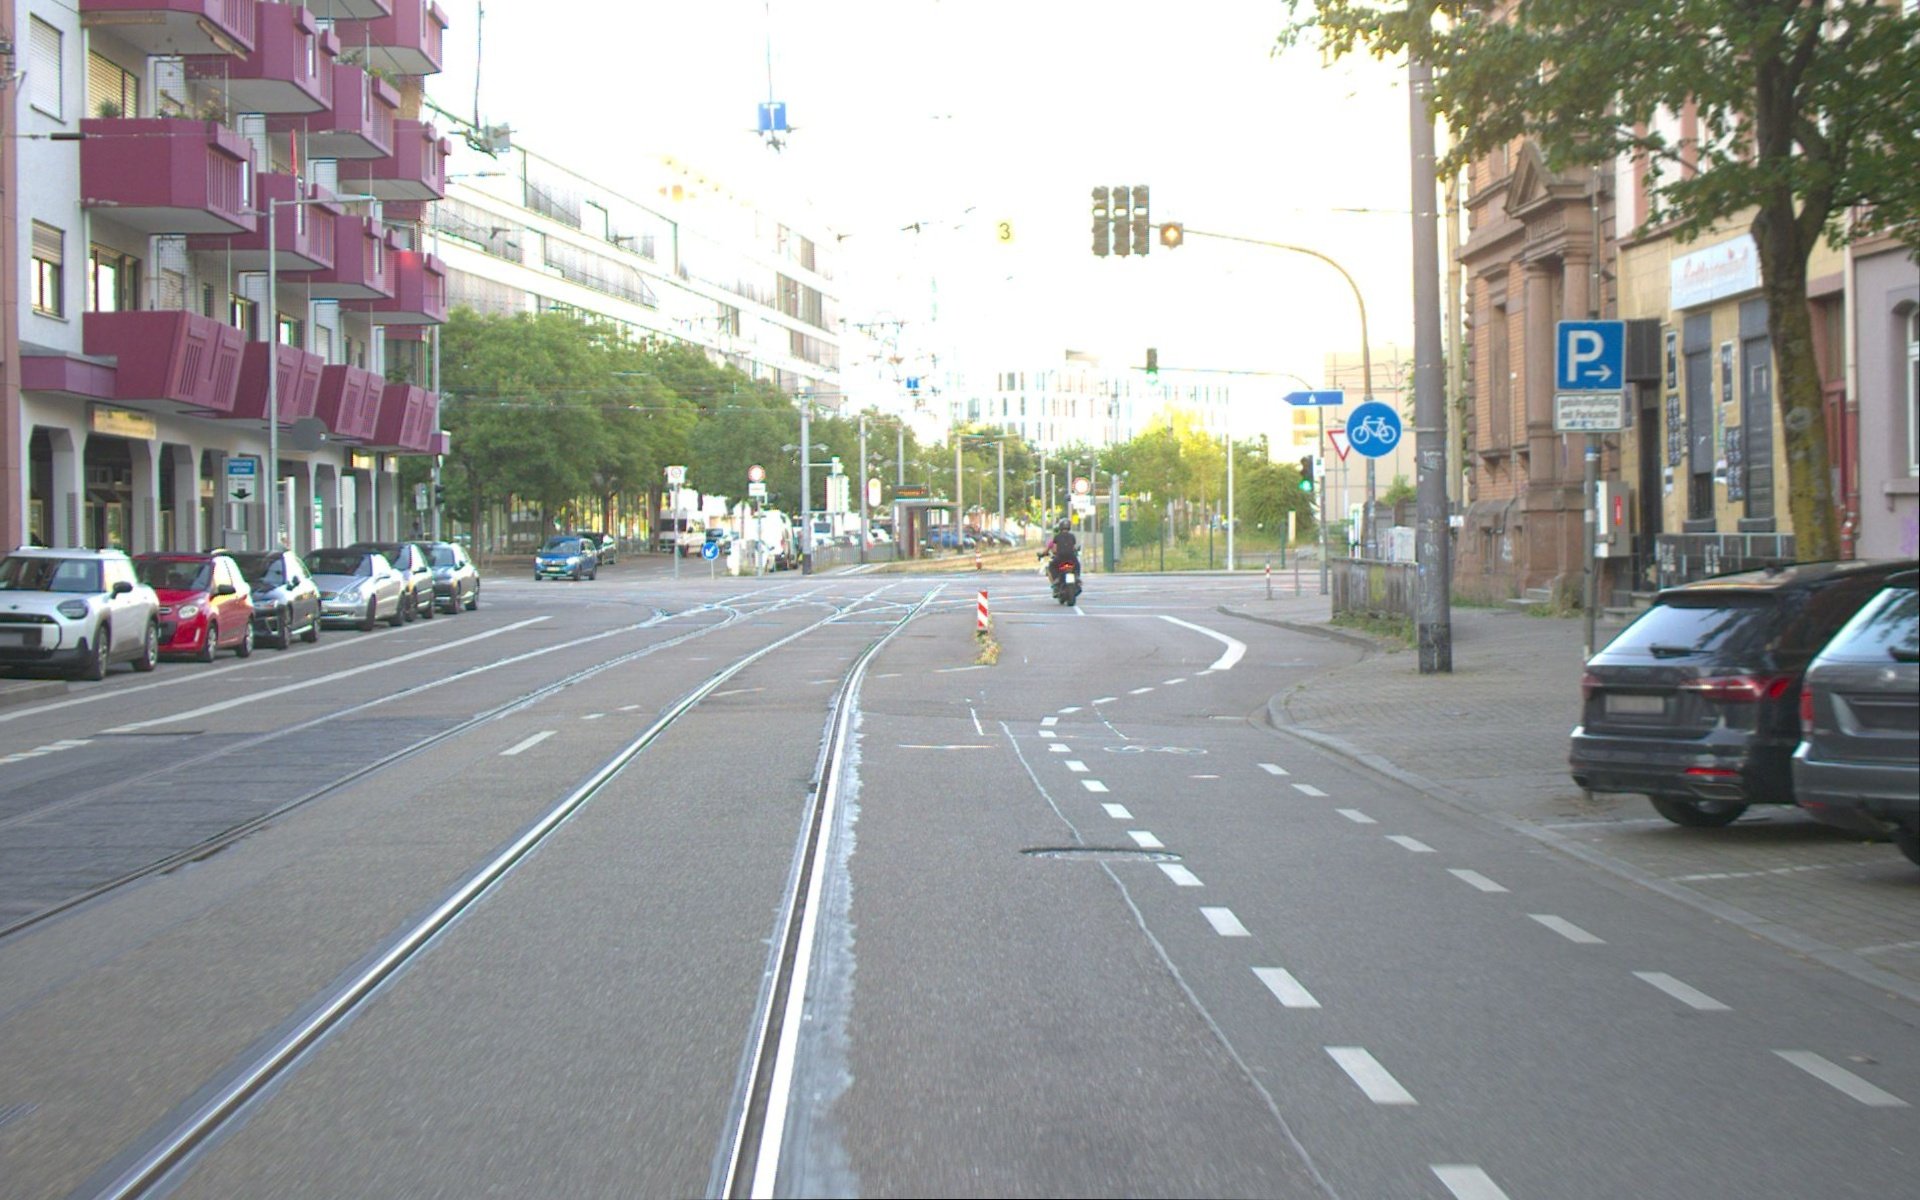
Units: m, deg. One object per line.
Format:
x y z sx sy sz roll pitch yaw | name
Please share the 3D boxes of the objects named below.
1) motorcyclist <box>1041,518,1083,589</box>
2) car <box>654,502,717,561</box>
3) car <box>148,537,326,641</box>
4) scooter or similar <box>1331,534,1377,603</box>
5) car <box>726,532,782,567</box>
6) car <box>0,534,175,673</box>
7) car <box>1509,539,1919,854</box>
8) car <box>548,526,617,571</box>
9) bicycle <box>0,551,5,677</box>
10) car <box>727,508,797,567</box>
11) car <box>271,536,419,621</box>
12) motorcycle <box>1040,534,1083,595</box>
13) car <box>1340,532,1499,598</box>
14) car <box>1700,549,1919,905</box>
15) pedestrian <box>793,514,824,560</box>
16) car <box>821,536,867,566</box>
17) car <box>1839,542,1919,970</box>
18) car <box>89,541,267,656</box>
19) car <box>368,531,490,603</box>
2.122 -0.971 71.468 0.828 1.468 1.207 0 1 3 | motorcyclist
-14.818 -3.723 185.935 2.202 3.141 6.141 0 1 7 | car
-11.047 -0.207 52.820 1.993 1.474 4.483 2 1 -3 | car
7.397 -0.595 64.630 0.641 1.261 1.583 -2 1 0 | scooter or similar
-8.593 -2.132 143.894 1.683 1.434 4.125 0 1 6 | car
-10.731 0.001 41.213 1.717 1.550 4.204 1 1 -1 | car
5.404 0.410 18.605 4.604 1.452 1.711 -3 2 -25 | car
-14.659 -2.030 133.845 1.683 1.694 4.238 0 1 8 | car
-10.884 0.174 36.500 0.608 1.373 2.258 0 1 7 | bicycle
-8.590 -2.728 149.570 2.461 2.474 5.808 0 1 2 | car
-10.897 -0.408 61.219 1.691 1.409 4.677 1 1 1 | car
2.118 -0.744 71.311 0.828 1.235 2.491 0 1 3 | motorcycle
11.222 -0.870 83.794 1.721 1.550 4.193 1 2 42 | car
5.587 0.465 15.661 3.986 1.487 1.831 -2 0 -25 | car
-6.634 -2.764 150.454 1.039 2.023 0.984 -1 1 -21 | pedestrian
-5.679 -2.434 168.903 1.683 1.434 4.125 0 1 6 | car
5.666 0.490 12.491 4.443 1.511 2.064 -2 1 -24 | car
-10.672 -0.052 47.124 1.611 1.474 3.479 2 1 0 | car
-11.230 -0.721 73.016 1.851 1.452 5.086 0 1 -1 | car
